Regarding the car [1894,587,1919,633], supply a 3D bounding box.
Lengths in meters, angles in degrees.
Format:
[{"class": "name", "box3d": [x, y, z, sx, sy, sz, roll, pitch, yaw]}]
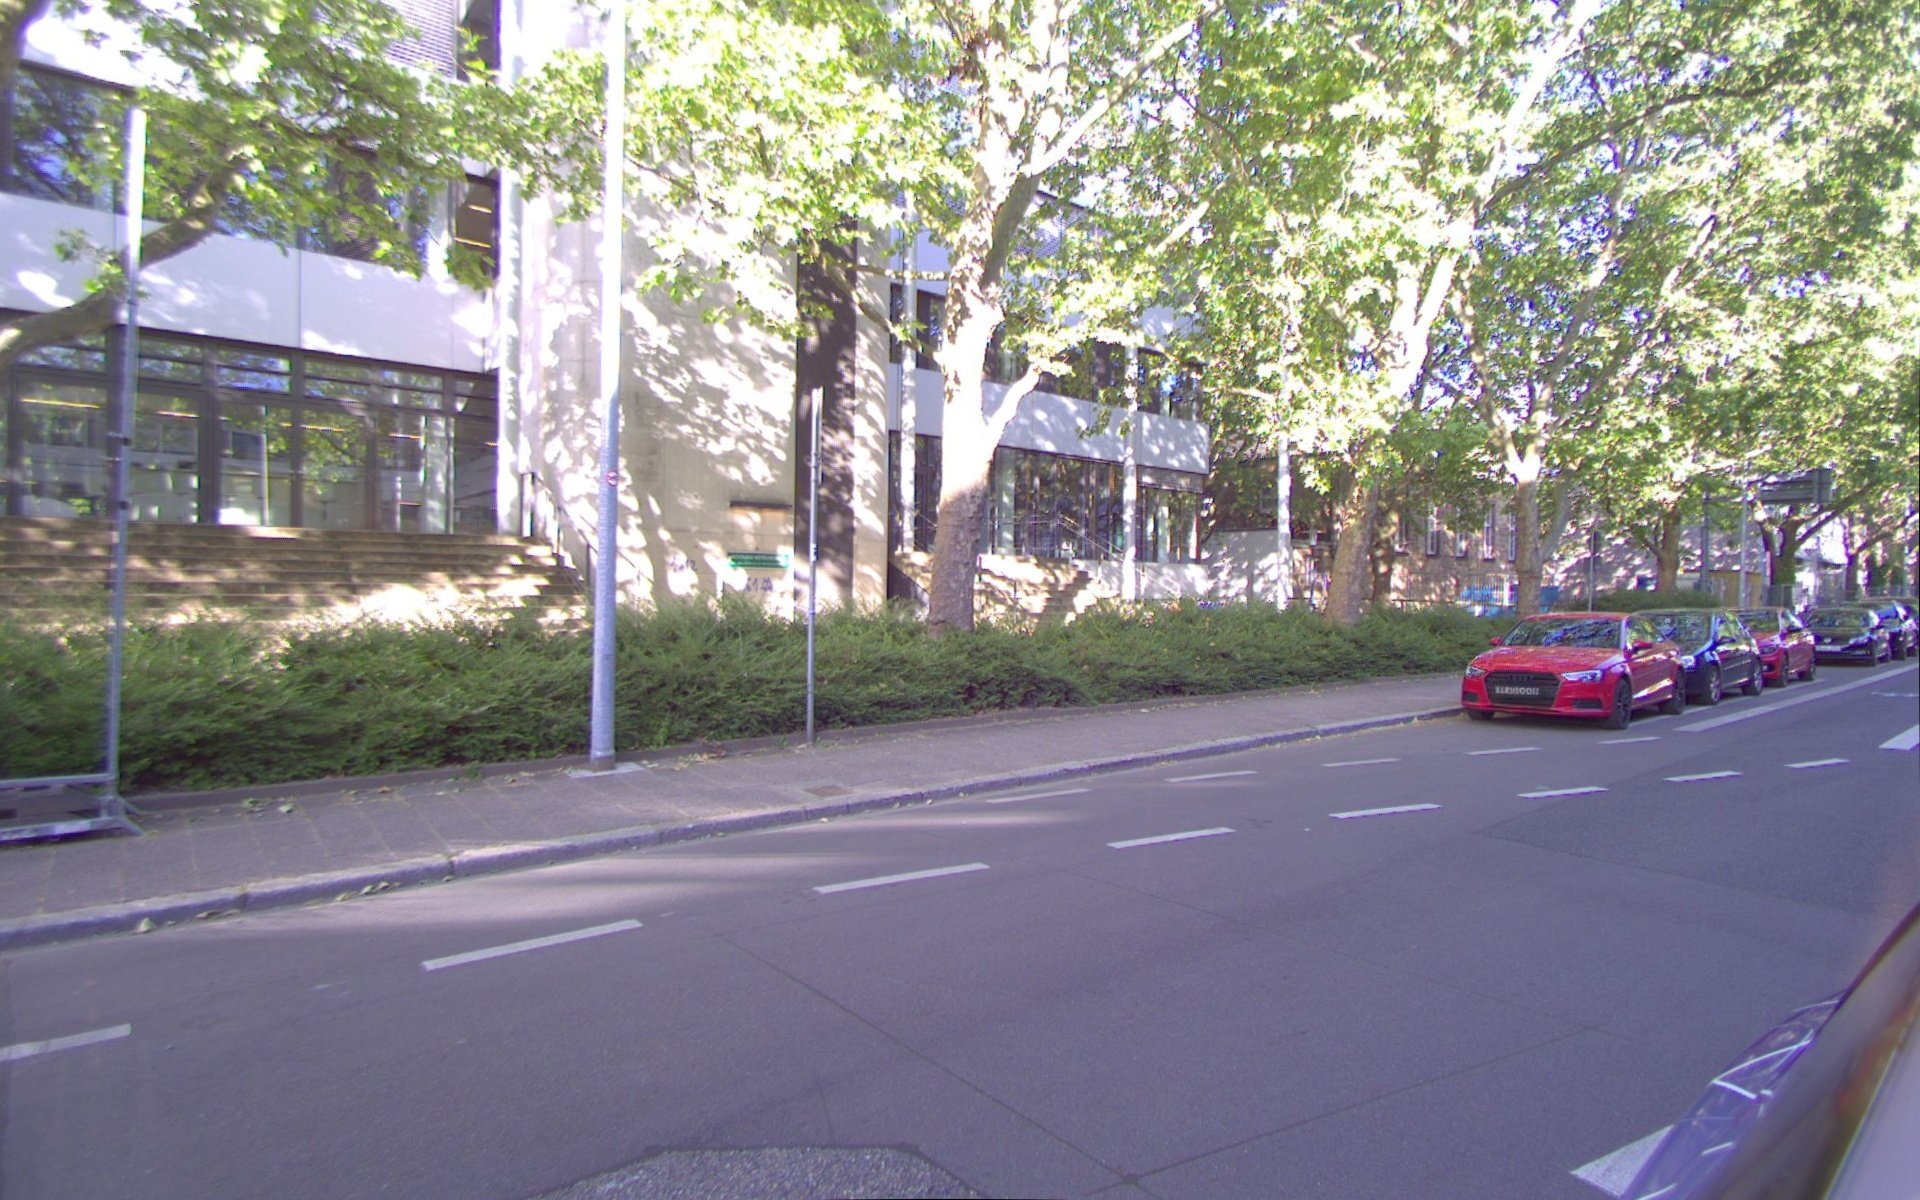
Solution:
[{"class": "car", "box3d": [35.741, 0.367, 37.081, 4.004, 1.638, 1.797, 0, 1, -41]}]

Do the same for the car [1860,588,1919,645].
[{"class": "car", "box3d": [31.083, 0.486, 33.059, 4.188, 1.747, 1.997, -1, 0, -41]}]

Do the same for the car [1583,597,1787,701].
[{"class": "car", "box3d": [11.982, 0.704, 16.648, 3.929, 1.475, 1.812, 0, 1, -40]}]

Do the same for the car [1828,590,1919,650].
[{"class": "car", "box3d": [26.649, 0.529, 29.198, 4.158, 1.601, 1.847, 0, 1, -41]}]

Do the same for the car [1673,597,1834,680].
[{"class": "car", "box3d": [15.734, 0.675, 20.004, 3.930, 1.456, 1.789, 0, 1, -41]}]

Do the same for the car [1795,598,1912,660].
[{"class": "car", "box3d": [22.985, 0.685, 26.000, 3.930, 1.456, 1.744, 0, 1, -41]}]

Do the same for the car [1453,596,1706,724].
[{"class": "car", "box3d": [8.354, 0.681, 13.505, 4.101, 1.443, 1.773, 0, -1, -42]}]
